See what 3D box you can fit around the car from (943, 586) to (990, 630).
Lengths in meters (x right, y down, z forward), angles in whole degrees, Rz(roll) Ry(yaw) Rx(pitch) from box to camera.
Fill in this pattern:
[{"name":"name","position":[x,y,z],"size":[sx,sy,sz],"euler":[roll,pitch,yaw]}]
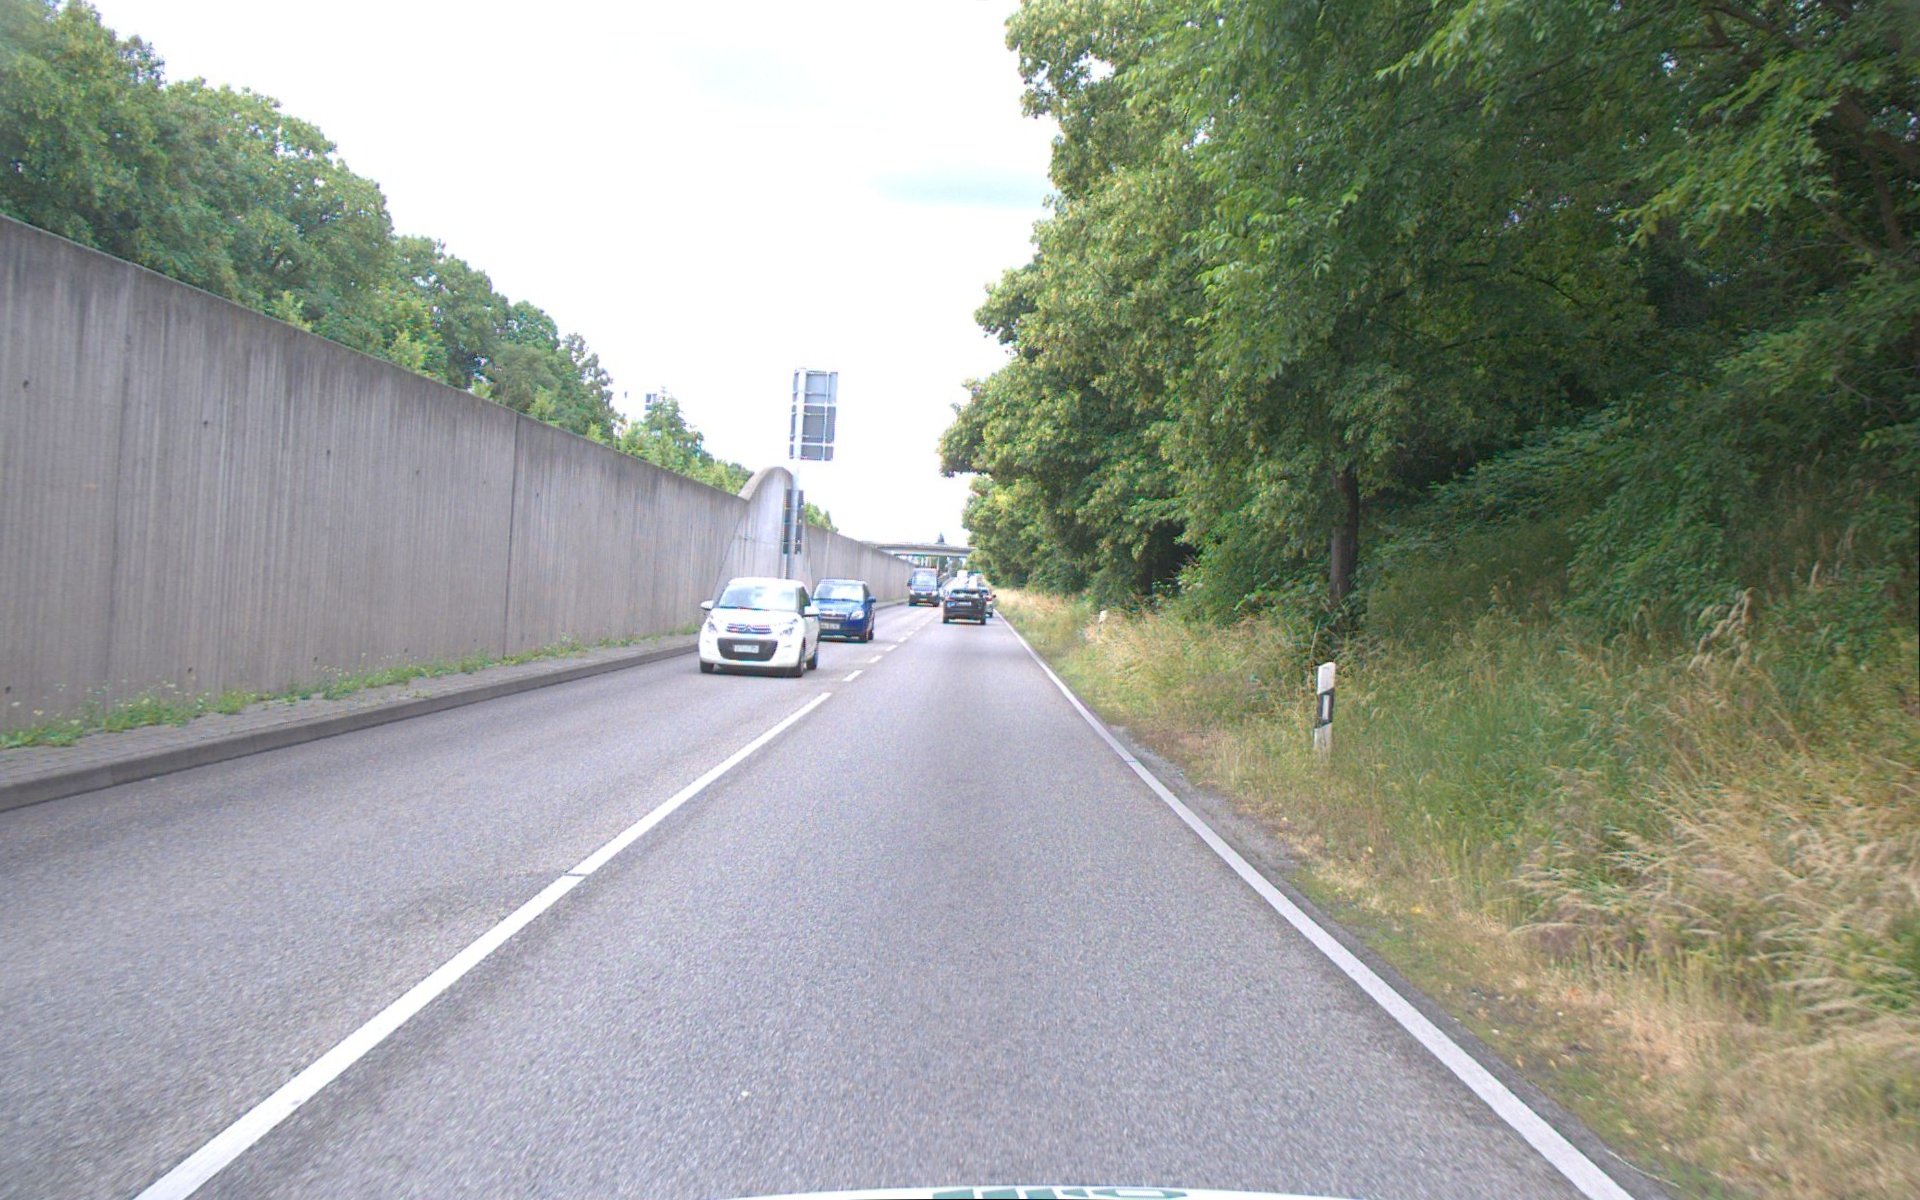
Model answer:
[{"name":"car","position":[0.241,0.345,66.760],"size":[1.719,1.550,4.035],"euler":[3,-2,-1]}]

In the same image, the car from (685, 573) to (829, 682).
[{"name":"car","position":[-3.192,0.395,26.743],"size":[1.877,1.521,4.206],"euler":[3,0,-2]}]

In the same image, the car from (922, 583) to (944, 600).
[{"name":"car","position":[-2.457,-0.763,153.491],"size":[1.853,1.509,4.823],"euler":[2,0,1]}]

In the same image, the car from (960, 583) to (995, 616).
[{"name":"car","position":[0.900,-0.024,83.491],"size":[1.718,1.550,4.036],"euler":[0,-2,1]}]

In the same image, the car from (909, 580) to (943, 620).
[{"name":"car","position":[-2.361,-0.008,116.436],"size":[2.066,2.676,7.417],"euler":[2,0,1]}]

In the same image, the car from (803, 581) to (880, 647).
[{"name":"car","position":[-2.980,0.324,42.162],"size":[1.732,1.521,4.206],"euler":[3,0,-2]}]

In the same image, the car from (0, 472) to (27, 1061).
[{"name":"car","position":[-2.931,0.532,1.283],"size":[1.852,1.660,4.426],"euler":[3,0,0]}]
